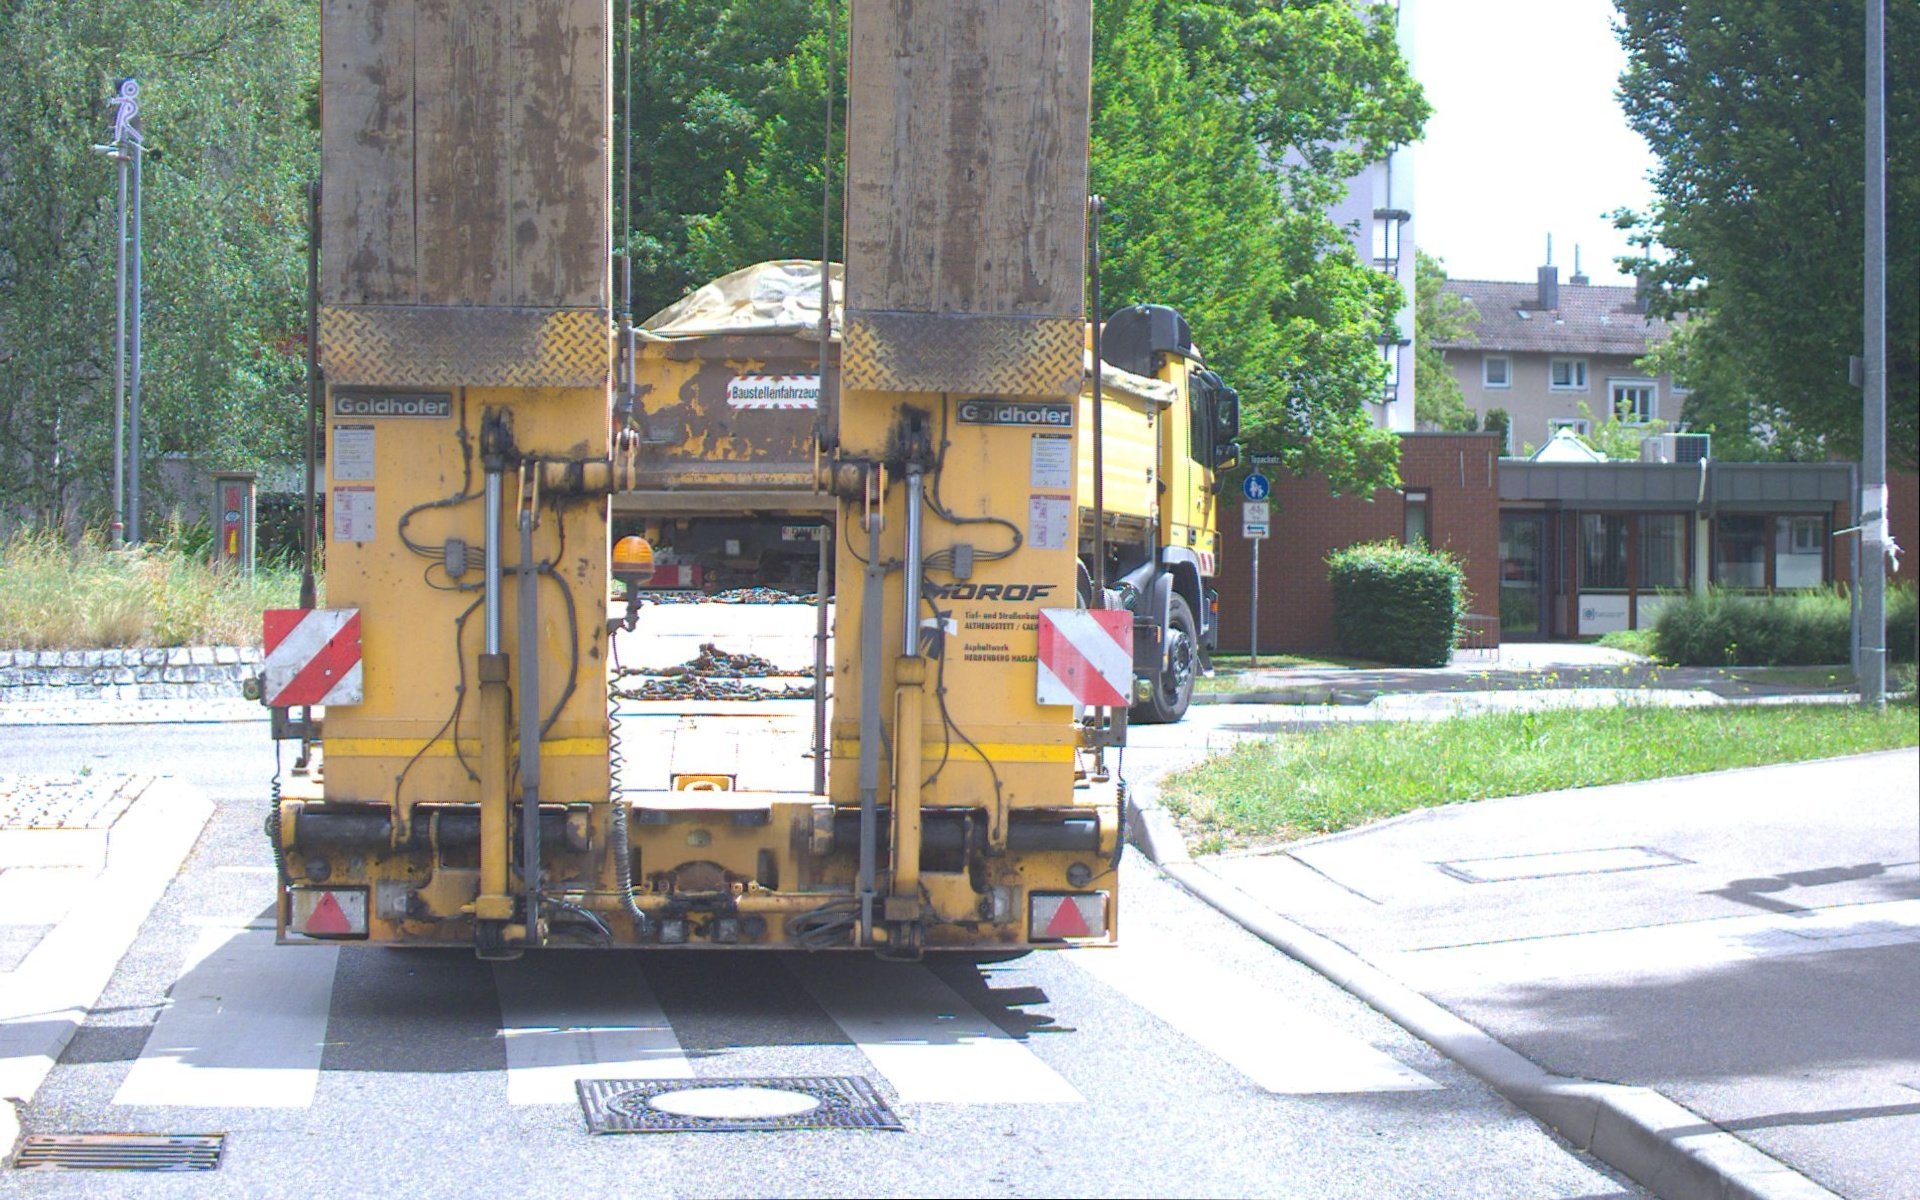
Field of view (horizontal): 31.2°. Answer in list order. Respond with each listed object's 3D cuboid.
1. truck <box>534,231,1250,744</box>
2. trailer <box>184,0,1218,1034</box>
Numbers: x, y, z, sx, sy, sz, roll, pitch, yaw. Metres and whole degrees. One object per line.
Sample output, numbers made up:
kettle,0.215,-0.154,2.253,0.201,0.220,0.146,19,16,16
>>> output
truck,-0.110,-0.814,25.027,2.990,3.024,8.481,2,2,14
trailer,-0.853,-0.617,15.237,2.863,3.361,10.842,2,1,-1
